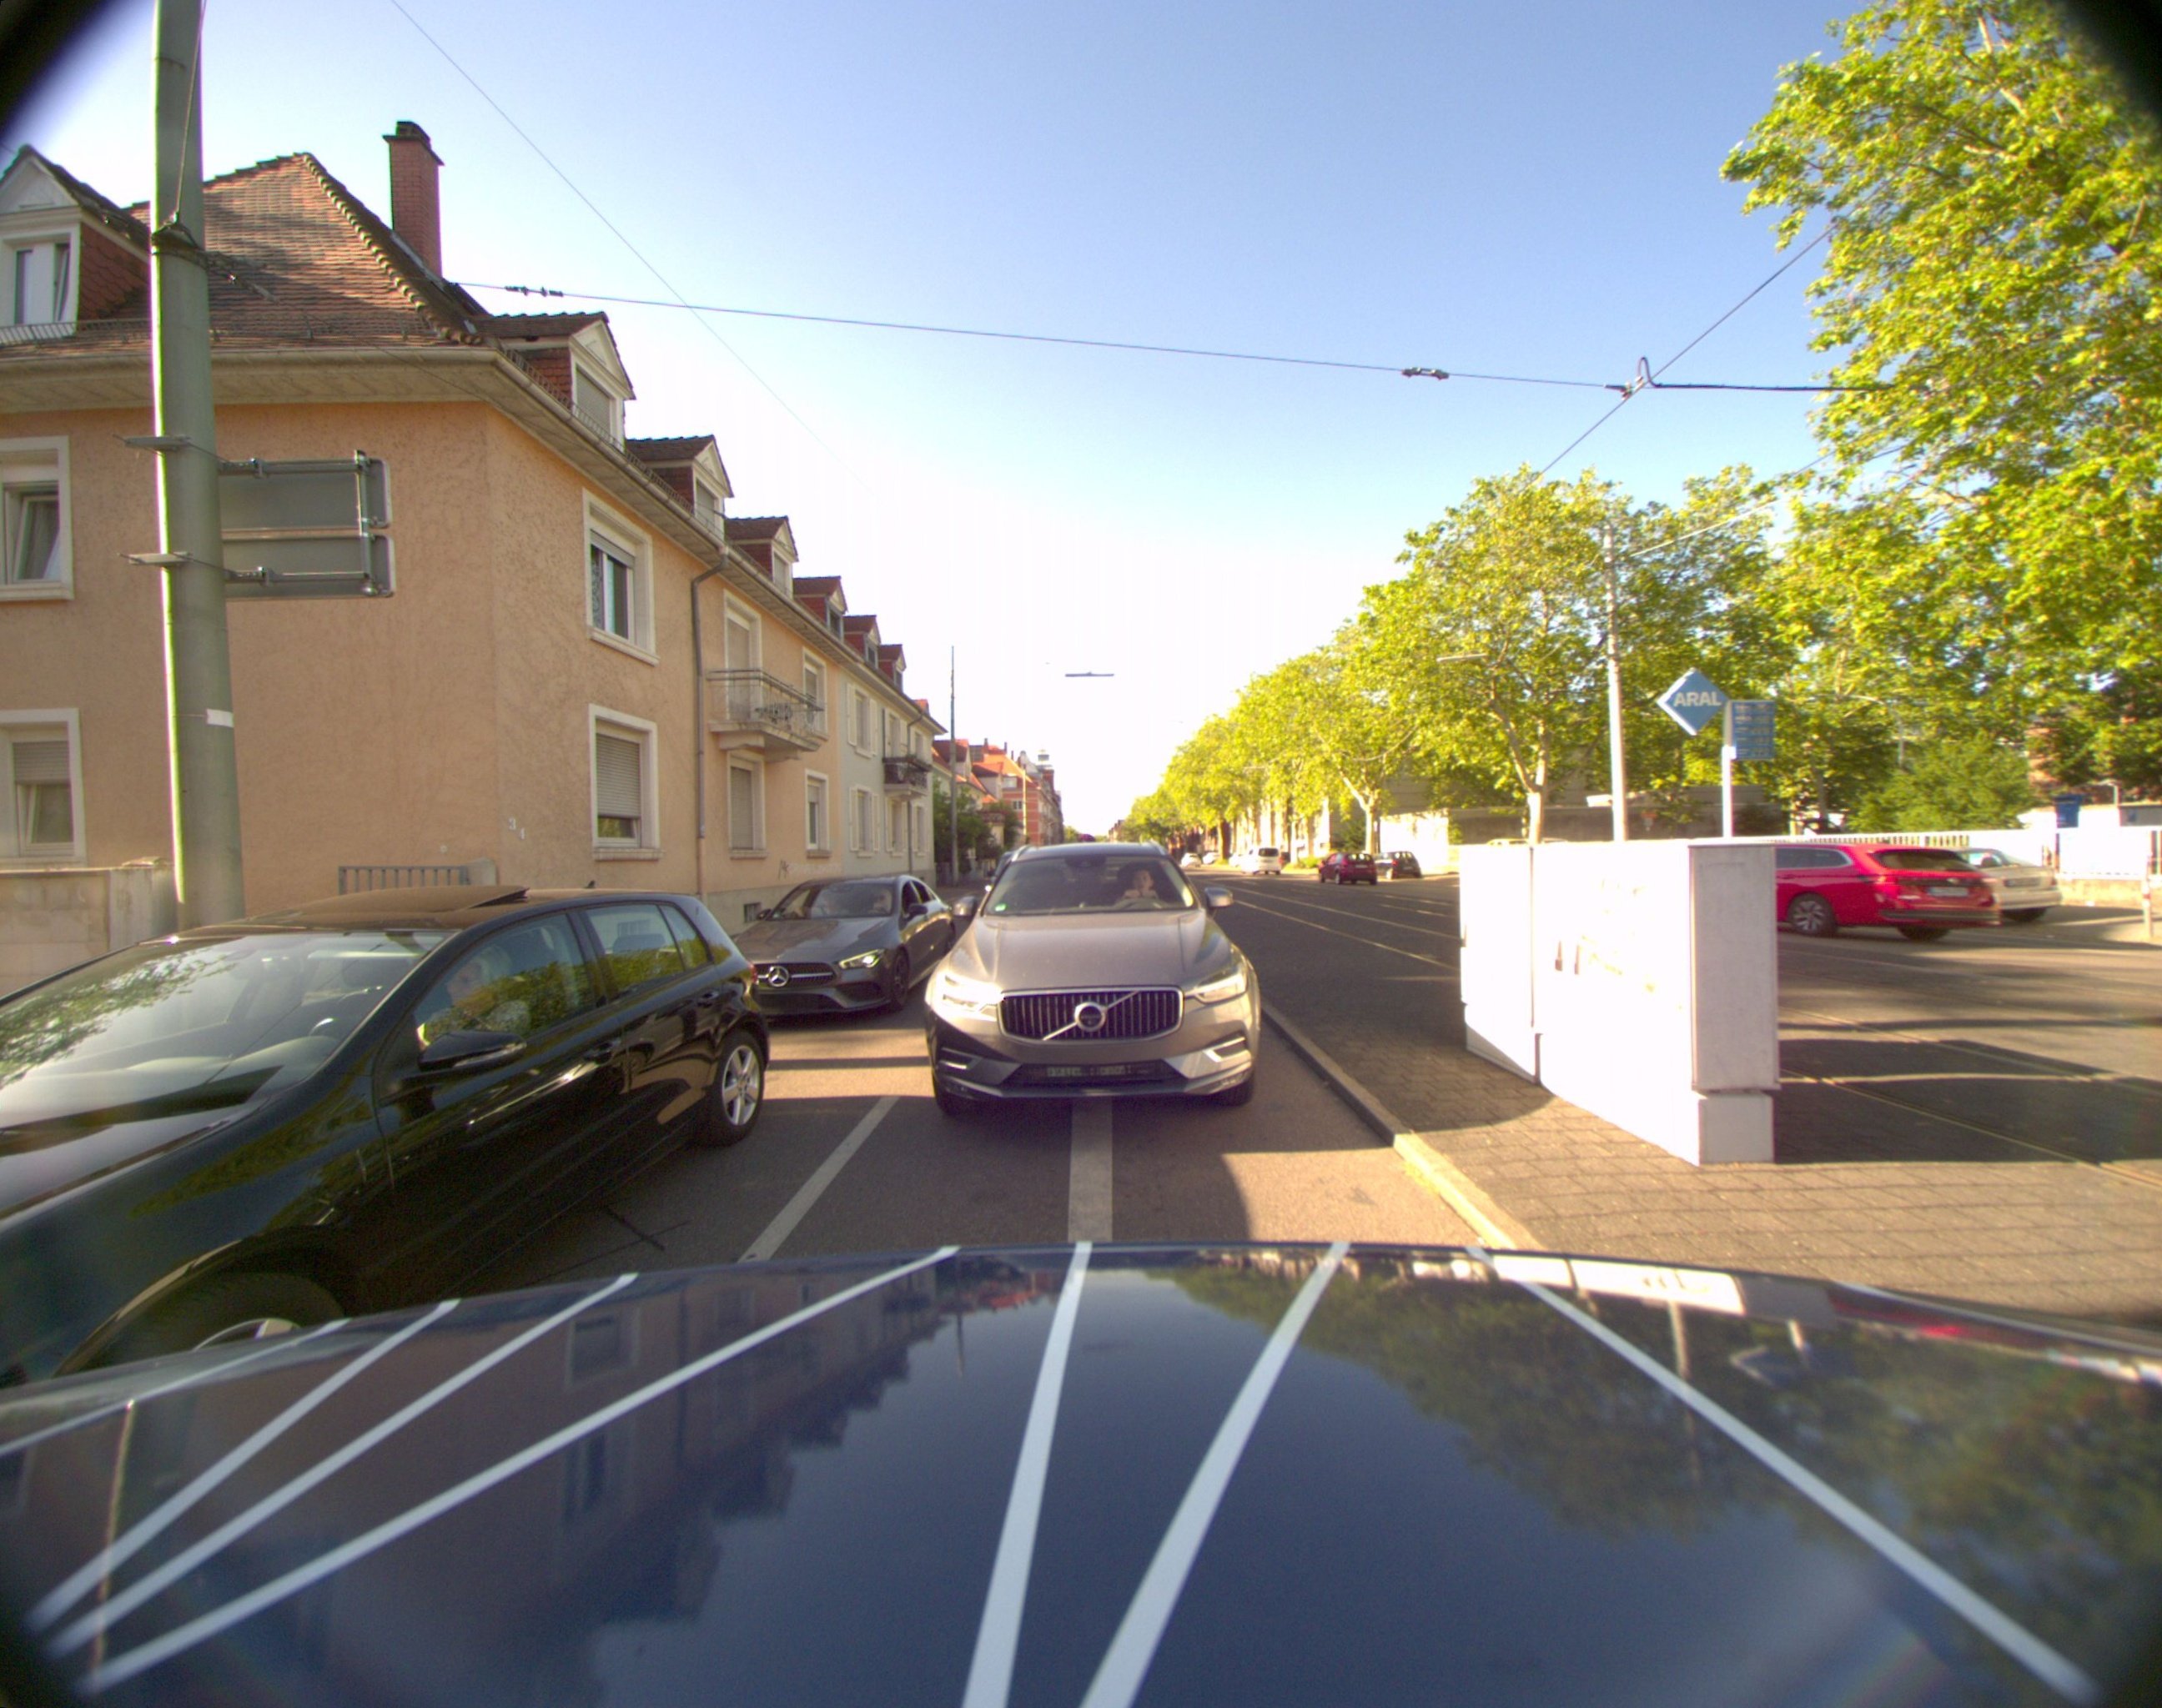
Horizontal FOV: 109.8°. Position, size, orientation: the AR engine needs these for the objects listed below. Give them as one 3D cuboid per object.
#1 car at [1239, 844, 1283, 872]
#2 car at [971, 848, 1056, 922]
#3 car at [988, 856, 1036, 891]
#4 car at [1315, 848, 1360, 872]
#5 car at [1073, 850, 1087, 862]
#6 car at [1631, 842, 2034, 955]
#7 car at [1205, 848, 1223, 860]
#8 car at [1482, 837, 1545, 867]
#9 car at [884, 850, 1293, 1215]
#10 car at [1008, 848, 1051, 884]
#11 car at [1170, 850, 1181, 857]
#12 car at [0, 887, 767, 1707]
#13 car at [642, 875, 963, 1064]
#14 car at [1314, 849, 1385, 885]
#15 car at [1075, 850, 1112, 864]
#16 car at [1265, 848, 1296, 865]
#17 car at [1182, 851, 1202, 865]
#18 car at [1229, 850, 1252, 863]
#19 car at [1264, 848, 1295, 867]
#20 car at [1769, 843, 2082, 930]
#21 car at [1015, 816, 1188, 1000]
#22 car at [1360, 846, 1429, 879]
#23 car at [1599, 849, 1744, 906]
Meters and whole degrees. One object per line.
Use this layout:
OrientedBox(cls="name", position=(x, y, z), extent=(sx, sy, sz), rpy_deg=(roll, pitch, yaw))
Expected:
OrientedBox(cls="car", position=(12.248, 0.217, 51.917), extent=(1.850, 1.835, 4.394), rpy_deg=(-1, 1, -1))
OrientedBox(cls="car", position=(-1.797, 0.776, 21.675), extent=(1.866, 1.794, 4.778), rpy_deg=(-2, 1, 1))
OrientedBox(cls="car", position=(-3.313, 0.910, 37.098), extent=(1.841, 1.449, 3.999), rpy_deg=(-2, 1, 1))
OrientedBox(cls="car", position=(16.930, 0.371, 50.380), extent=(1.700, 1.460, 3.999), rpy_deg=(-1, 1, 1))
OrientedBox(cls="car", position=(-0.156, 0.264, 106.490), extent=(1.841, 1.449, 3.999), rpy_deg=(-2, 1, 1))
OrientedBox(cls="car", position=(11.778, 0.572, 12.547), extent=(1.912, 1.514, 4.763), rpy_deg=(0, 1, 0))
OrientedBox(cls="car", position=(17.667, 0.000, 100.785), extent=(1.700, 1.548, 3.999), rpy_deg=(-1, 1, 1))
OrientedBox(cls="car", position=(21.721, -0.117, 38.292), extent=(1.545, 1.412, 3.151), rpy_deg=(-2, 1, 4))
OrientedBox(cls="car", position=(0.043, 0.852, 6.049), extent=(1.912, 1.666, 4.763), rpy_deg=(-2, 1, 0))
OrientedBox(cls="car", position=(-2.974, 0.642, 45.381), extent=(1.937, 1.888, 7.210), rpy_deg=(-2, 1, 1))
OrientedBox(cls="car", position=(18.591, -0.085, 149.567), extent=(1.700, 1.401, 3.999), rpy_deg=(-1, 1, 1))
OrientedBox(cls="car", position=(-2.848, 0.937, 2.643), extent=(1.733, 1.499, 4.051), rpy_deg=(-2, -1, 1))
OrientedBox(cls="car", position=(-2.782, 1.076, 8.872), extent=(1.911, 1.411, 4.492), rpy_deg=(-2, 1, 2))
OrientedBox(cls="car", position=(11.812, 0.512, 33.685), extent=(1.700, 1.412, 3.999), rpy_deg=(-3, 1, 1))
OrientedBox(cls="car", position=(1.526, 0.384, 90.048), extent=(3.989, 1.449, 1.846), rpy_deg=(-2, 1, 36))
OrientedBox(cls="car", position=(17.289, 0.221, 65.916), extent=(1.700, 1.401, 3.999), rpy_deg=(-1, 1, 1))
OrientedBox(cls="car", position=(12.723, 0.438, 87.081), extent=(1.764, 1.487, 3.999), rpy_deg=(-2, 1, 1))
OrientedBox(cls="car", position=(17.520, 0.243, 83.524), extent=(1.700, 1.401, 3.999), rpy_deg=(-1, 1, 1))
OrientedBox(cls="car", position=(17.172, 0.314, 65.996), extent=(1.700, 1.566, 3.999), rpy_deg=(-1, 1, 1))
OrientedBox(cls="car", position=(16.199, 0.534, 14.942), extent=(1.731, 1.412, 3.999), rpy_deg=(-2, 1, 1))
OrientedBox(cls="car", position=(0.243, 0.594, 11.125), extent=(1.912, 2.048, 4.763), rpy_deg=(-2, 1, 0))
OrientedBox(cls="car", position=(16.903, 0.421, 41.222), extent=(1.753, 1.514, 4.434), rpy_deg=(-5, 1, -1))
OrientedBox(cls="car", position=(16.374, 0.603, 21.267), extent=(1.546, 1.412, 3.254), rpy_deg=(-2, 1, 1))
